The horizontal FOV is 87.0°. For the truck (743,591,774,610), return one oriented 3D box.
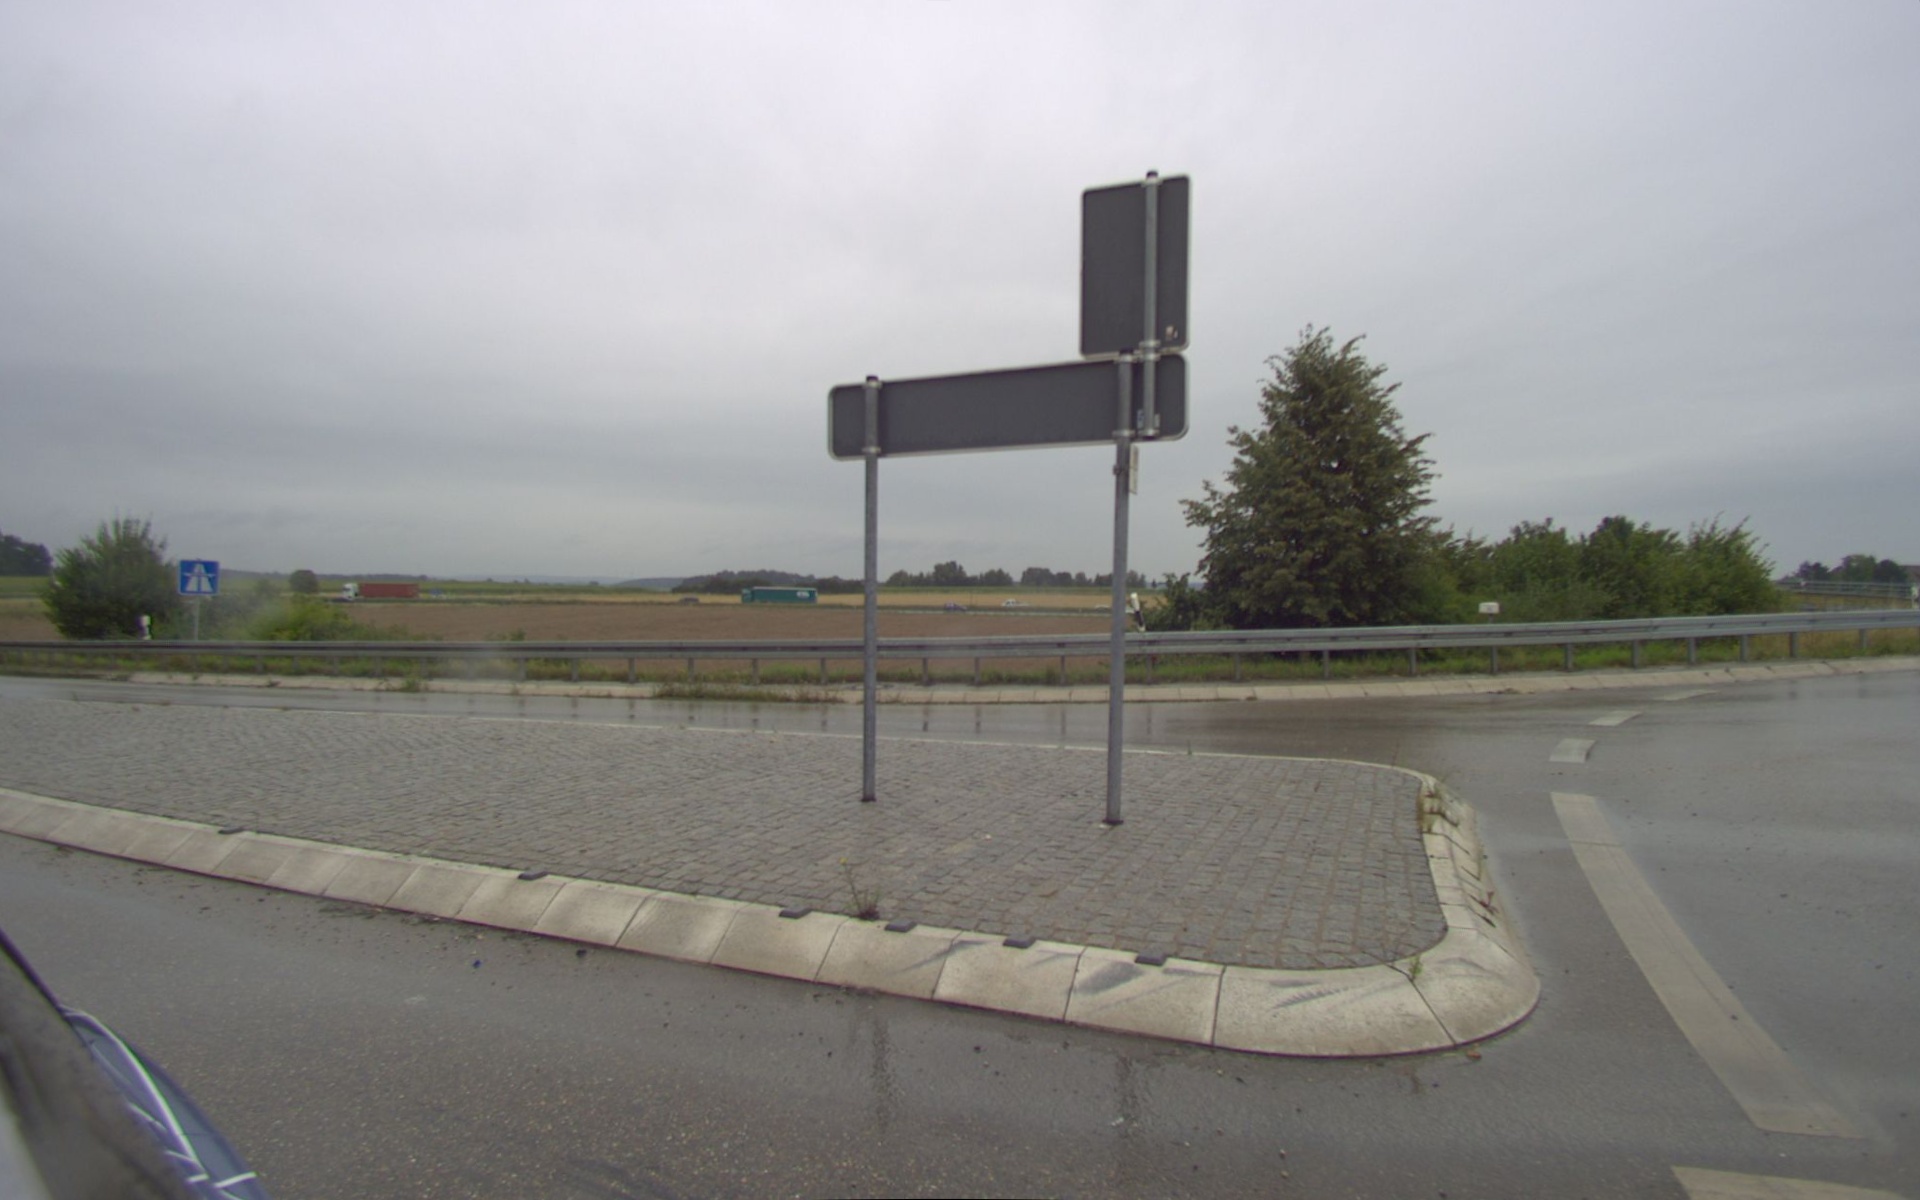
[{"bbox_3d":[-43.637,0.088,219.112,6.195,3.943,2.947,1,3,4],"label":"truck"}]

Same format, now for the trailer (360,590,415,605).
[{"bbox_3d":[-126.195,-0.483,222.969,11.329,2.933,1.998,1,3,4],"label":"trailer"}]

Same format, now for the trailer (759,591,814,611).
[{"bbox_3d":[-37.502,0.220,218.700,11.329,3.916,2.947,1,3,4],"label":"trailer"}]

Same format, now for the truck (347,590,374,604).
[{"bbox_3d":[-132.297,-0.610,223.376,4.816,2.933,1.998,1,3,4],"label":"truck"}]
